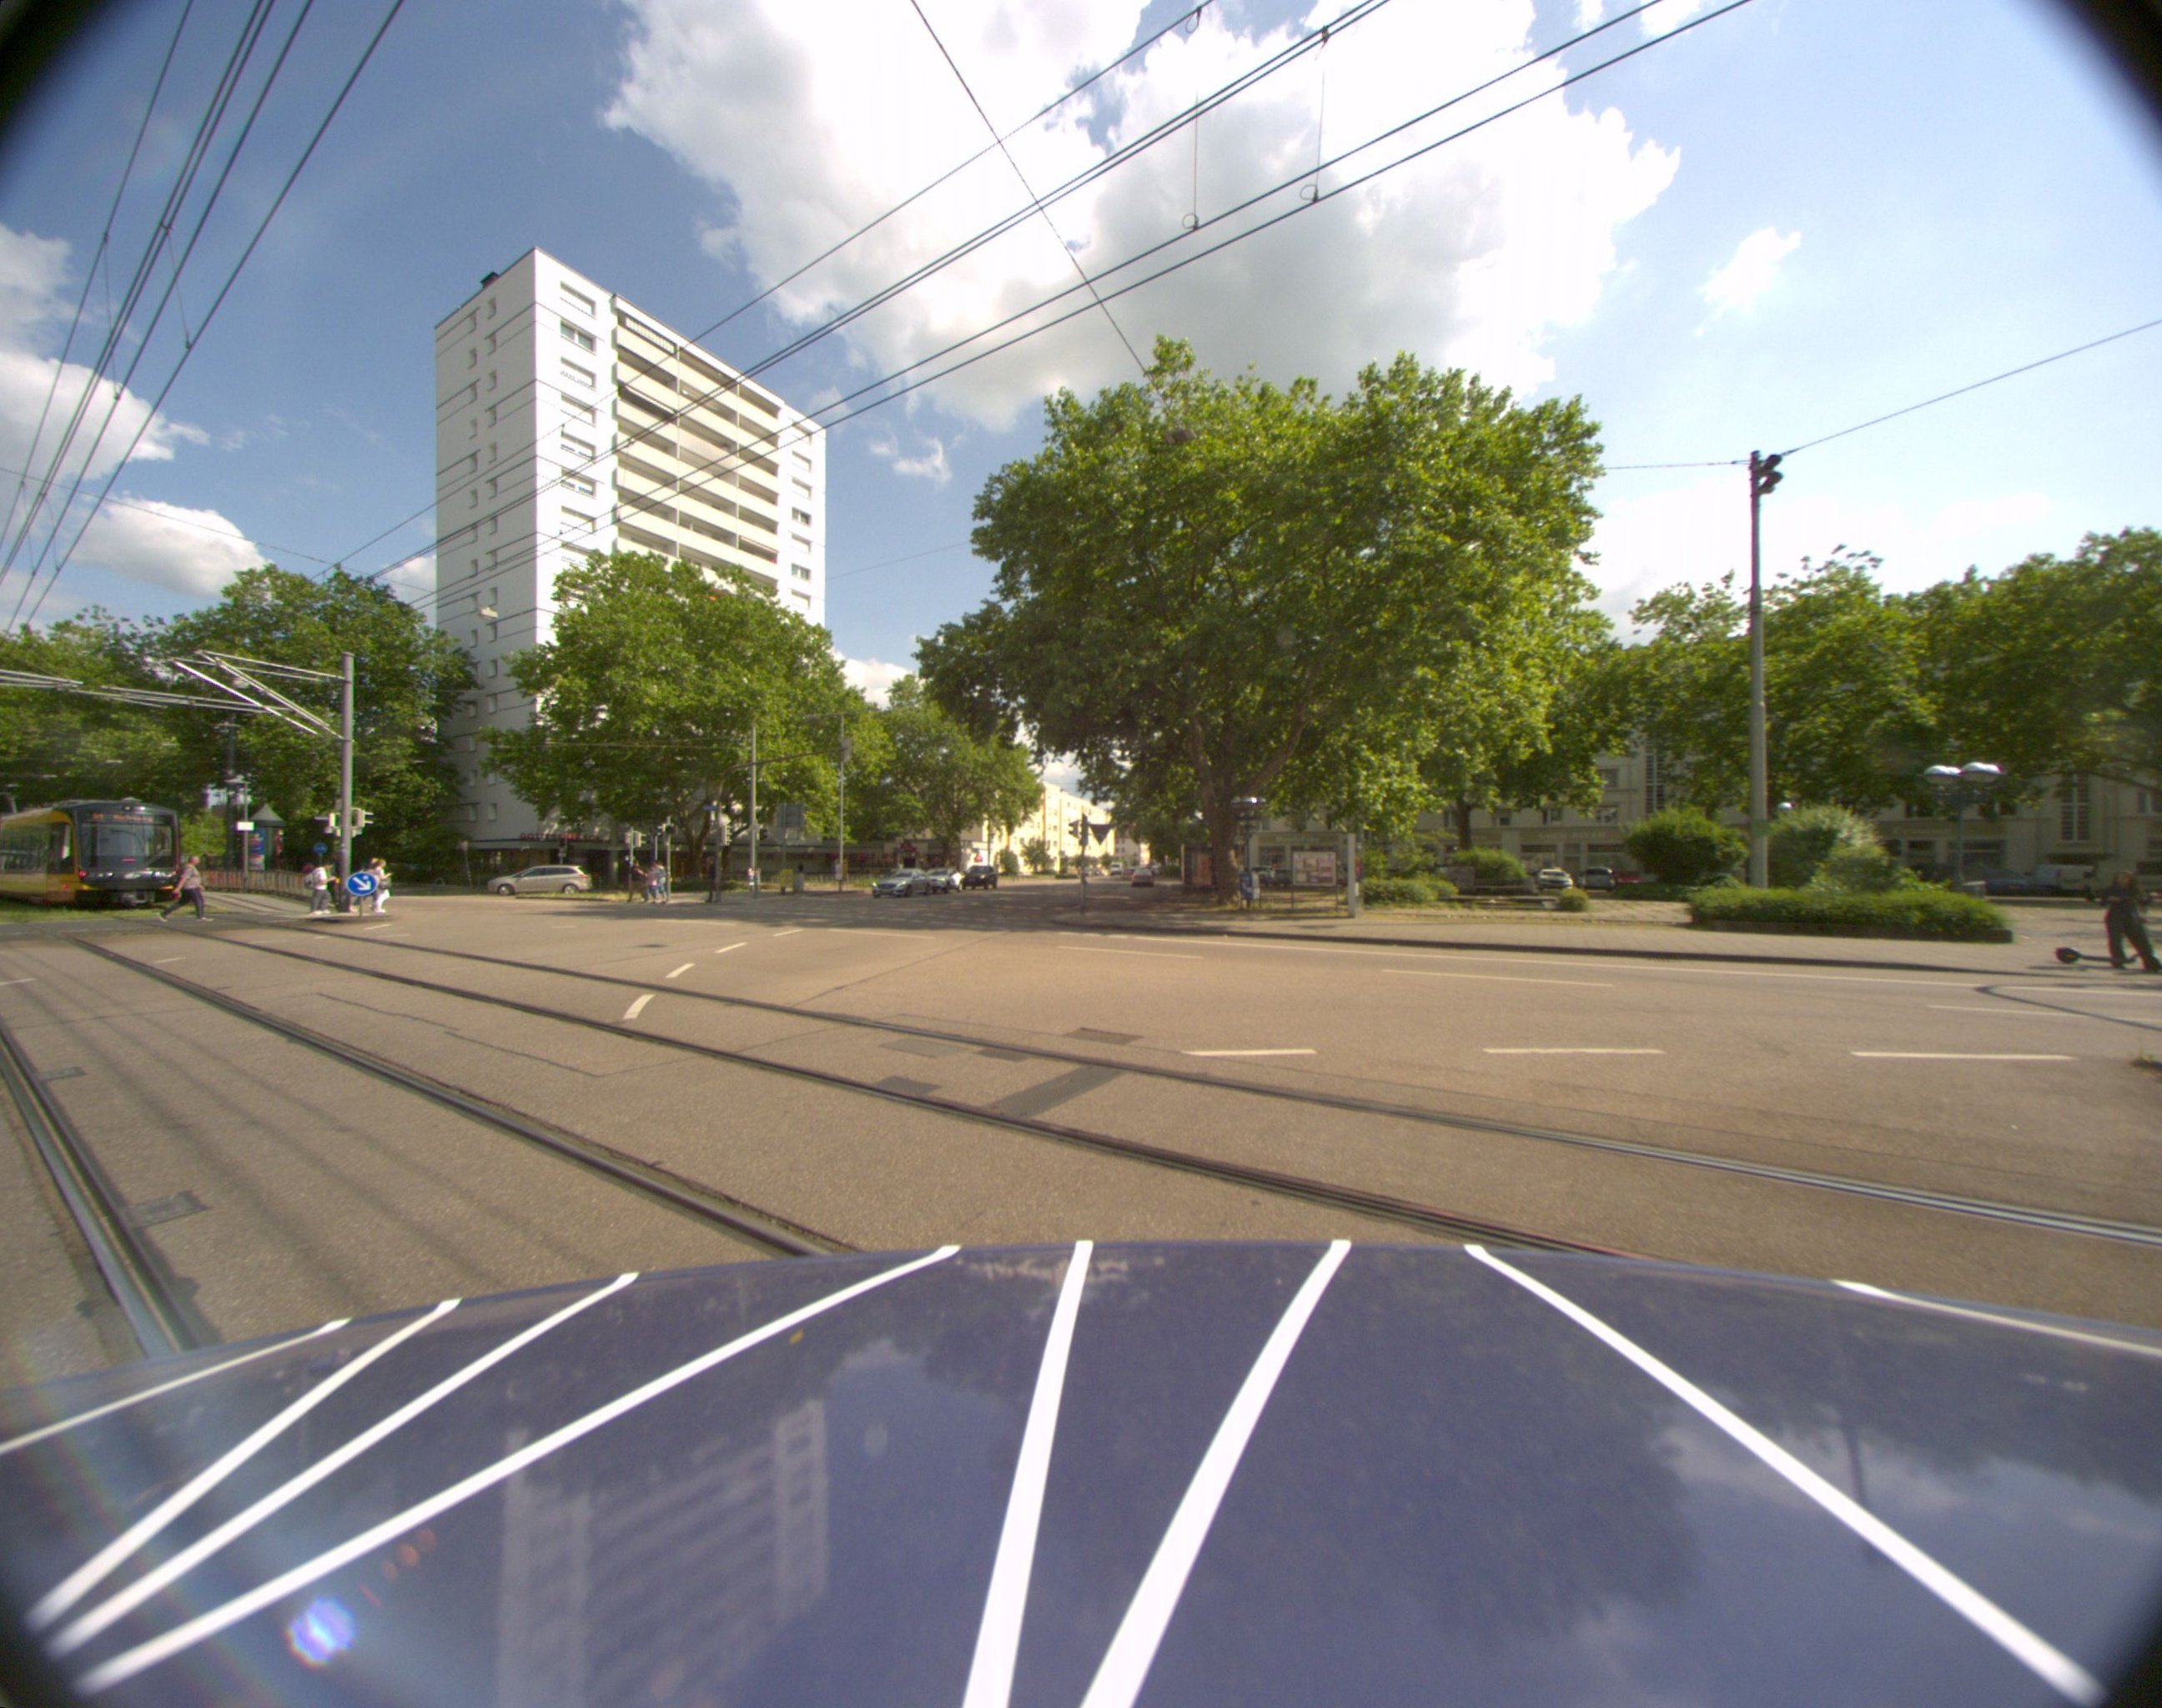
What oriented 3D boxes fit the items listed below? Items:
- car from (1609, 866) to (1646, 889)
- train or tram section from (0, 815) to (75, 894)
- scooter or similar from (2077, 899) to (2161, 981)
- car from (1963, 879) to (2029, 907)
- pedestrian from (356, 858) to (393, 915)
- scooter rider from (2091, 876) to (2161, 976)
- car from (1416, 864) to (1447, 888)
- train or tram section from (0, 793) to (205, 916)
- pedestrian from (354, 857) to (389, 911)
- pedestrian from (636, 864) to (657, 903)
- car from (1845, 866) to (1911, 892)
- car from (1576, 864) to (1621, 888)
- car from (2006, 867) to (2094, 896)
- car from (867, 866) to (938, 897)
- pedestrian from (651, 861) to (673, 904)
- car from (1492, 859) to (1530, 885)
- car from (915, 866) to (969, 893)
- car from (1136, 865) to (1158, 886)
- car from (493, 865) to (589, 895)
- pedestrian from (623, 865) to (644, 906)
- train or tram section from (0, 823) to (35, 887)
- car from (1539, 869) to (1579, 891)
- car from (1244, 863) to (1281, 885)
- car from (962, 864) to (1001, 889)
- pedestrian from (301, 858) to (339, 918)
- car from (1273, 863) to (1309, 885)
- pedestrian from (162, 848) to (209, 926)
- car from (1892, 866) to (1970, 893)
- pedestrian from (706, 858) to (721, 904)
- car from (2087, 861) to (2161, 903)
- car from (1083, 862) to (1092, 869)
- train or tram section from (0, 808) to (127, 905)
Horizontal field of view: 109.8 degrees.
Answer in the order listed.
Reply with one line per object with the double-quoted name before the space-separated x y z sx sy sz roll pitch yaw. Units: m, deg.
"car" 41.868 1.799 58.319 1.846 1.650 4.092 0 0 29
"train or tram section" -53.246 -0.004 37.663 12.122 3.540 2.821 0 0 31
"scooter or similar" 17.106 1.386 12.403 0.544 1.219 0.877 0 2 8
"car" 57.971 2.463 48.222 1.927 1.657 3.745 0 -3 38
"pedestrian" -21.509 0.980 23.131 0.646 1.693 0.673 1 0 33
"scooter rider" 17.105 1.166 12.407 0.544 1.584 0.438 0 2 8
"car" 25.449 1.558 55.158 1.846 1.650 4.091 0 0 27
"train or tram section" -33.665 -0.001 25.971 11.345 3.540 2.811 0 0 30
"pedestrian" -22.863 0.960 24.487 0.646 1.693 0.673 1 0 33
"pedestrian" -17.938 1.193 31.356 0.555 1.588 0.512 0 0 9
"car" 53.300 1.624 50.891 1.846 1.650 4.091 0 0 28
"car" 34.356 1.451 50.528 1.864 1.509 3.951 0 0 26
"car" 60.243 1.652 47.342 1.846 1.650 4.091 0 0 28
"car" -8.952 1.341 38.422 1.857 1.481 4.005 0 0 14
"pedestrian" -16.744 1.132 30.359 0.555 1.725 0.529 0 0 9
"car" 29.854 1.220 52.846 1.995 1.674 4.007 0 0 26
"car" -8.154 1.465 44.829 1.858 1.481 4.079 0 0 9
"car" 5.430 1.736 62.324 1.688 1.493 4.002 0 1 7
"car" -28.425 1.337 40.165 3.854 1.481 1.857 0 0 -24
"pedestrian" -18.516 1.301 31.448 0.555 1.661 0.512 0 0 9
"train or tram section" -62.245 0.026 43.066 8.881 3.462 2.781 0 0 31
"car" 32.075 1.706 51.080 1.864 1.346 3.951 0 0 26
"car" 14.799 1.587 61.780 1.846 1.650 4.092 0 0 29
"car" -6.867 1.515 52.751 1.688 1.610 4.003 0 0 8
"pedestrian" -22.148 0.979 22.118 0.646 1.693 0.673 1 0 33
"car" 16.830 1.596 60.734 1.846 1.650 4.092 0 0 29
"pedestrian" -23.517 0.841 19.962 0.702 2.002 0.742 0 0 36
"car" 55.536 1.633 49.741 2.077 1.650 4.091 0 0 28
"pedestrian" -14.787 1.087 30.569 0.482 1.814 0.555 0 0 -17
"car" 53.327 1.417 38.272 2.249 2.001 3.944 0 -3 38
"car" 1.385 2.411 160.160 1.581 1.512 4.002 0 0 6
"train or tram section" -43.311 0.084 31.711 11.150 3.540 2.821 0 0 31
